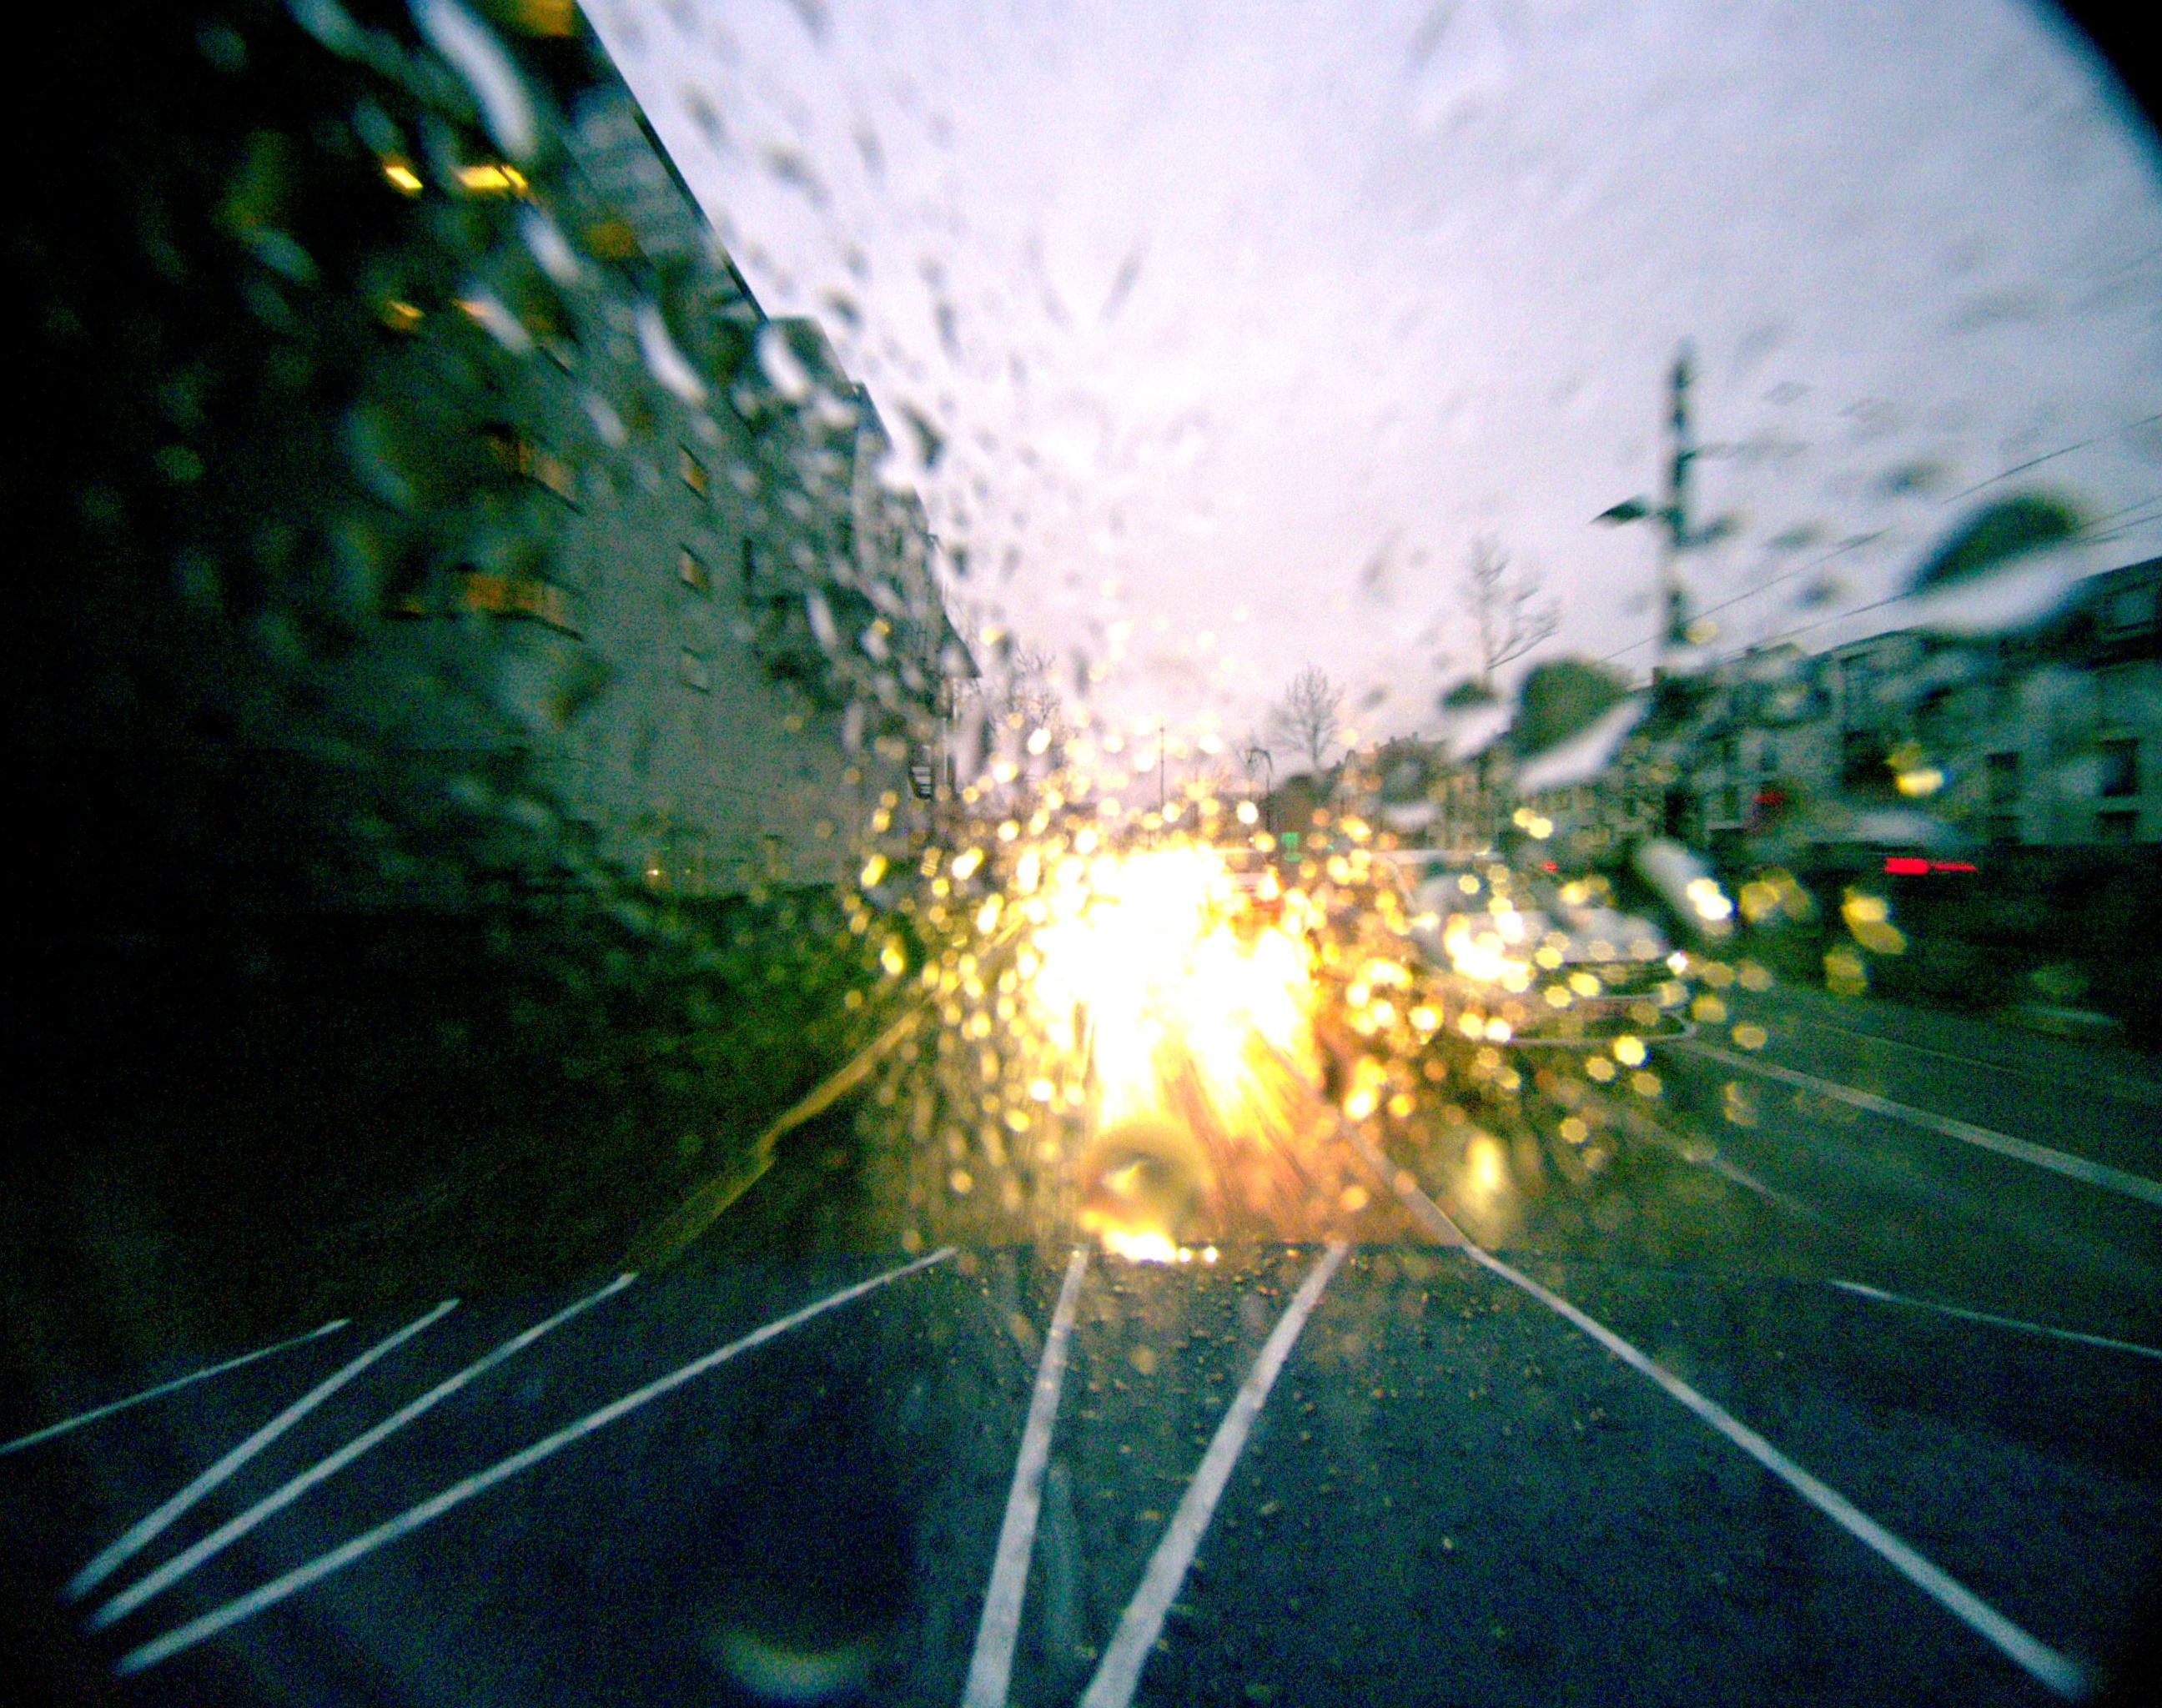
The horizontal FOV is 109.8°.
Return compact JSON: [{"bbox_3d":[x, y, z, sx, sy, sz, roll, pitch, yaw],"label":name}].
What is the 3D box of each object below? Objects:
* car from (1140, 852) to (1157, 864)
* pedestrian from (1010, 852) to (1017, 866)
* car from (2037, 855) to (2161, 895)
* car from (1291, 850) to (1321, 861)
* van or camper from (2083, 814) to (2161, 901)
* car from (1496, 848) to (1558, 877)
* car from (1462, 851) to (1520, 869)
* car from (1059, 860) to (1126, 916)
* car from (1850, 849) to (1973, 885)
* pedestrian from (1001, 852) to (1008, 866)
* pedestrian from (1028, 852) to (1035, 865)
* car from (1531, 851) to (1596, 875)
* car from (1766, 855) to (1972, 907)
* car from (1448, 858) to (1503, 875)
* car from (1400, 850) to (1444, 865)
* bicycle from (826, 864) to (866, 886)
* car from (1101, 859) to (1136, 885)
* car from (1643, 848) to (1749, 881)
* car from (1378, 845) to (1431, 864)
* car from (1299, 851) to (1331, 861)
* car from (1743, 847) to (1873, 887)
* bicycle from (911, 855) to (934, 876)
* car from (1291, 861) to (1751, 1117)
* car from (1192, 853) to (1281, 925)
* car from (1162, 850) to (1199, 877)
[{"bbox_3d":[7.365,0.428,83.008,1.523,1.309,3.436,-2,0,1],"label":"car"},{"bbox_3d":[-9.129,0.652,102.510,0.673,1.767,0.615,-2,1,15],"label":"pedestrian"},{"bbox_3d":[33.457,0.680,24.621,2.880,1.197,1.391,-2,0,42],"label":"car"},{"bbox_3d":[33.590,0.227,113.551,4.034,1.223,1.351,-4,1,37],"label":"car"},{"bbox_3d":[32.064,-0.004,19.804,6.863,2.346,2.004,-2,0,35],"label":"van or camper"},{"bbox_3d":[26.327,0.490,44.990,1.618,1.613,3.509,-2,0,1],"label":"car"},{"bbox_3d":[31.992,0.461,59.343,3.833,1.238,1.741,-3,0,32],"label":"car"},{"bbox_3d":[0.330,0.891,21.318,1.669,1.325,3.787,-2,0,1],"label":"car"},{"bbox_3d":[32.014,0.506,29.406,3.088,1.295,1.391,-2,0,42],"label":"car"},{"bbox_3d":[-9.542,0.627,94.562,0.673,1.615,0.615,-2,1,16],"label":"pedestrian"},{"bbox_3d":[-6.259,0.553,96.306,0.673,1.603,0.615,-2,1,15],"label":"pedestrian"},{"bbox_3d":[31.608,0.583,49.792,3.376,1.413,1.673,-2,0,40],"label":"car"},{"bbox_3d":[25.956,0.826,25.347,1.885,1.494,4.790,-2,0,0],"label":"car"},{"bbox_3d":[32.355,1.032,62.328,3.811,1.165,1.741,-3,0,30],"label":"car"},{"bbox_3d":[32.370,0.345,72.086,3.571,1.301,1.689,-3,0,32],"label":"car"},{"bbox_3d":[-11.231,1.003,36.316,1.813,1.046,0.397,0,1,-1],"label":"bicycle"},{"bbox_3d":[2.047,0.962,41.989,1.736,1.311,3.803,-2,0,1],"label":"car"},{"bbox_3d":[31.739,0.568,39.354,4.151,1.532,1.673,-2,0,37],"label":"car"},{"bbox_3d":[33.189,0.089,78.076,4.646,1.713,1.837,-3,0,35],"label":"car"},{"bbox_3d":[33.926,0.310,110.219,4.095,1.154,1.715,-4,1,40],"label":"car"},{"bbox_3d":[31.735,0.584,33.318,3.839,1.579,1.745,-2,0,33],"label":"car"},{"bbox_3d":[-10.317,0.754,49.516,0.411,1.277,1.747,-2,0,28],"label":"bicycle"},{"bbox_3d":[3.252,0.851,6.661,1.692,1.465,4.001,-2,0,0],"label":"car"},{"bbox_3d":[3.695,0.778,18.625,1.637,1.510,3.909,-2,0,5],"label":"car"},{"bbox_3d":[5.942,0.545,45.623,1.905,1.475,3.656,-2,0,3],"label":"car"}]
